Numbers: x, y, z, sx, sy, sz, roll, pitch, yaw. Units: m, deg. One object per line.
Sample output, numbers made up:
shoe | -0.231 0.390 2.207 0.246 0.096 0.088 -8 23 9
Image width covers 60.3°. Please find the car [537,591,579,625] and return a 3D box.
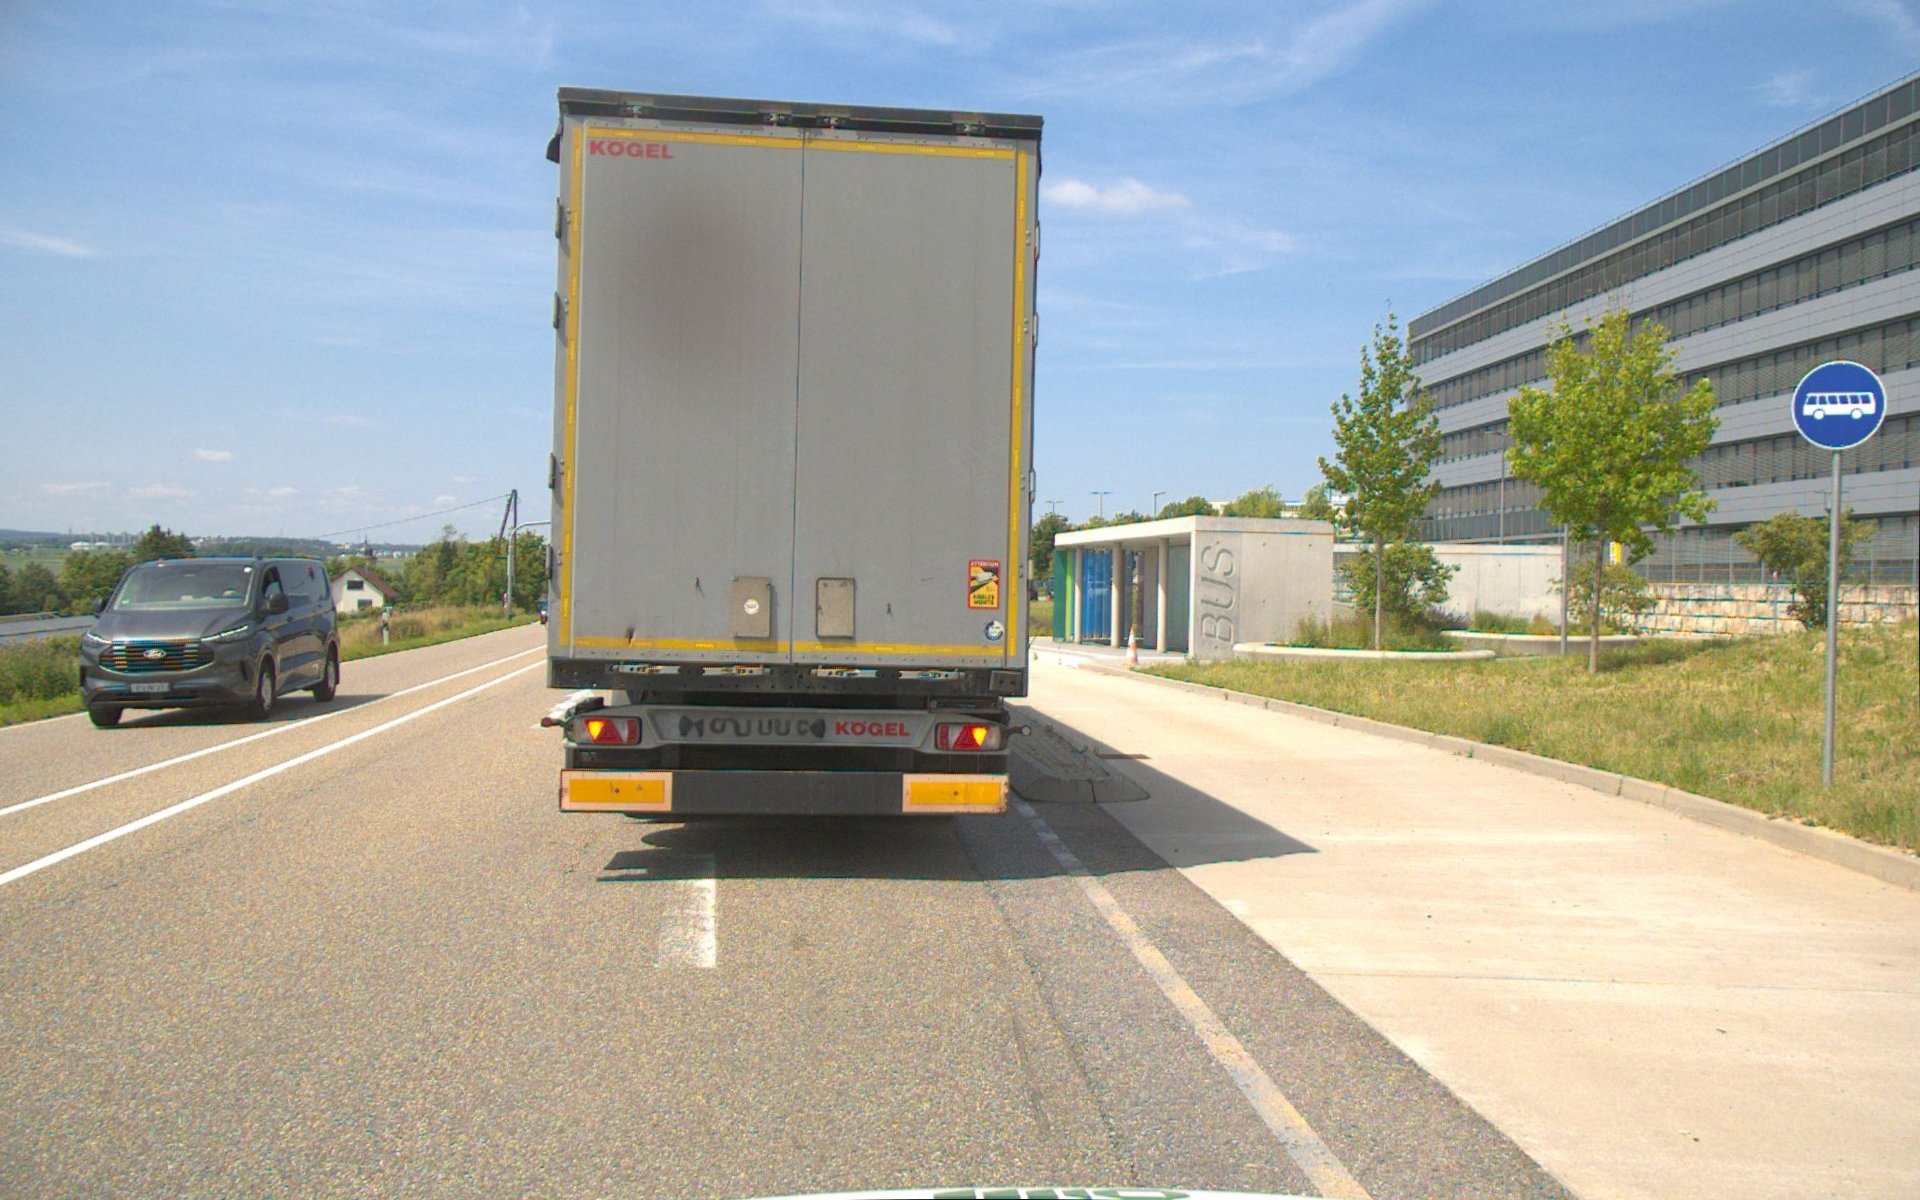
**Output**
car | -22.558 0.440 92.850 1.957 1.819 3.991 -1 0 -10

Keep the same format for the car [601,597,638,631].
car | -19.948 0.801 97.071 1.958 1.847 4.286 -2 1 -10

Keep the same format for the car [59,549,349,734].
car | -9.439 0.441 21.189 1.957 2.013 5.268 -2 0 -9

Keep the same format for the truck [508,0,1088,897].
truck | -1.198 -0.825 12.584 2.851 4.487 8.849 0 0 -6
